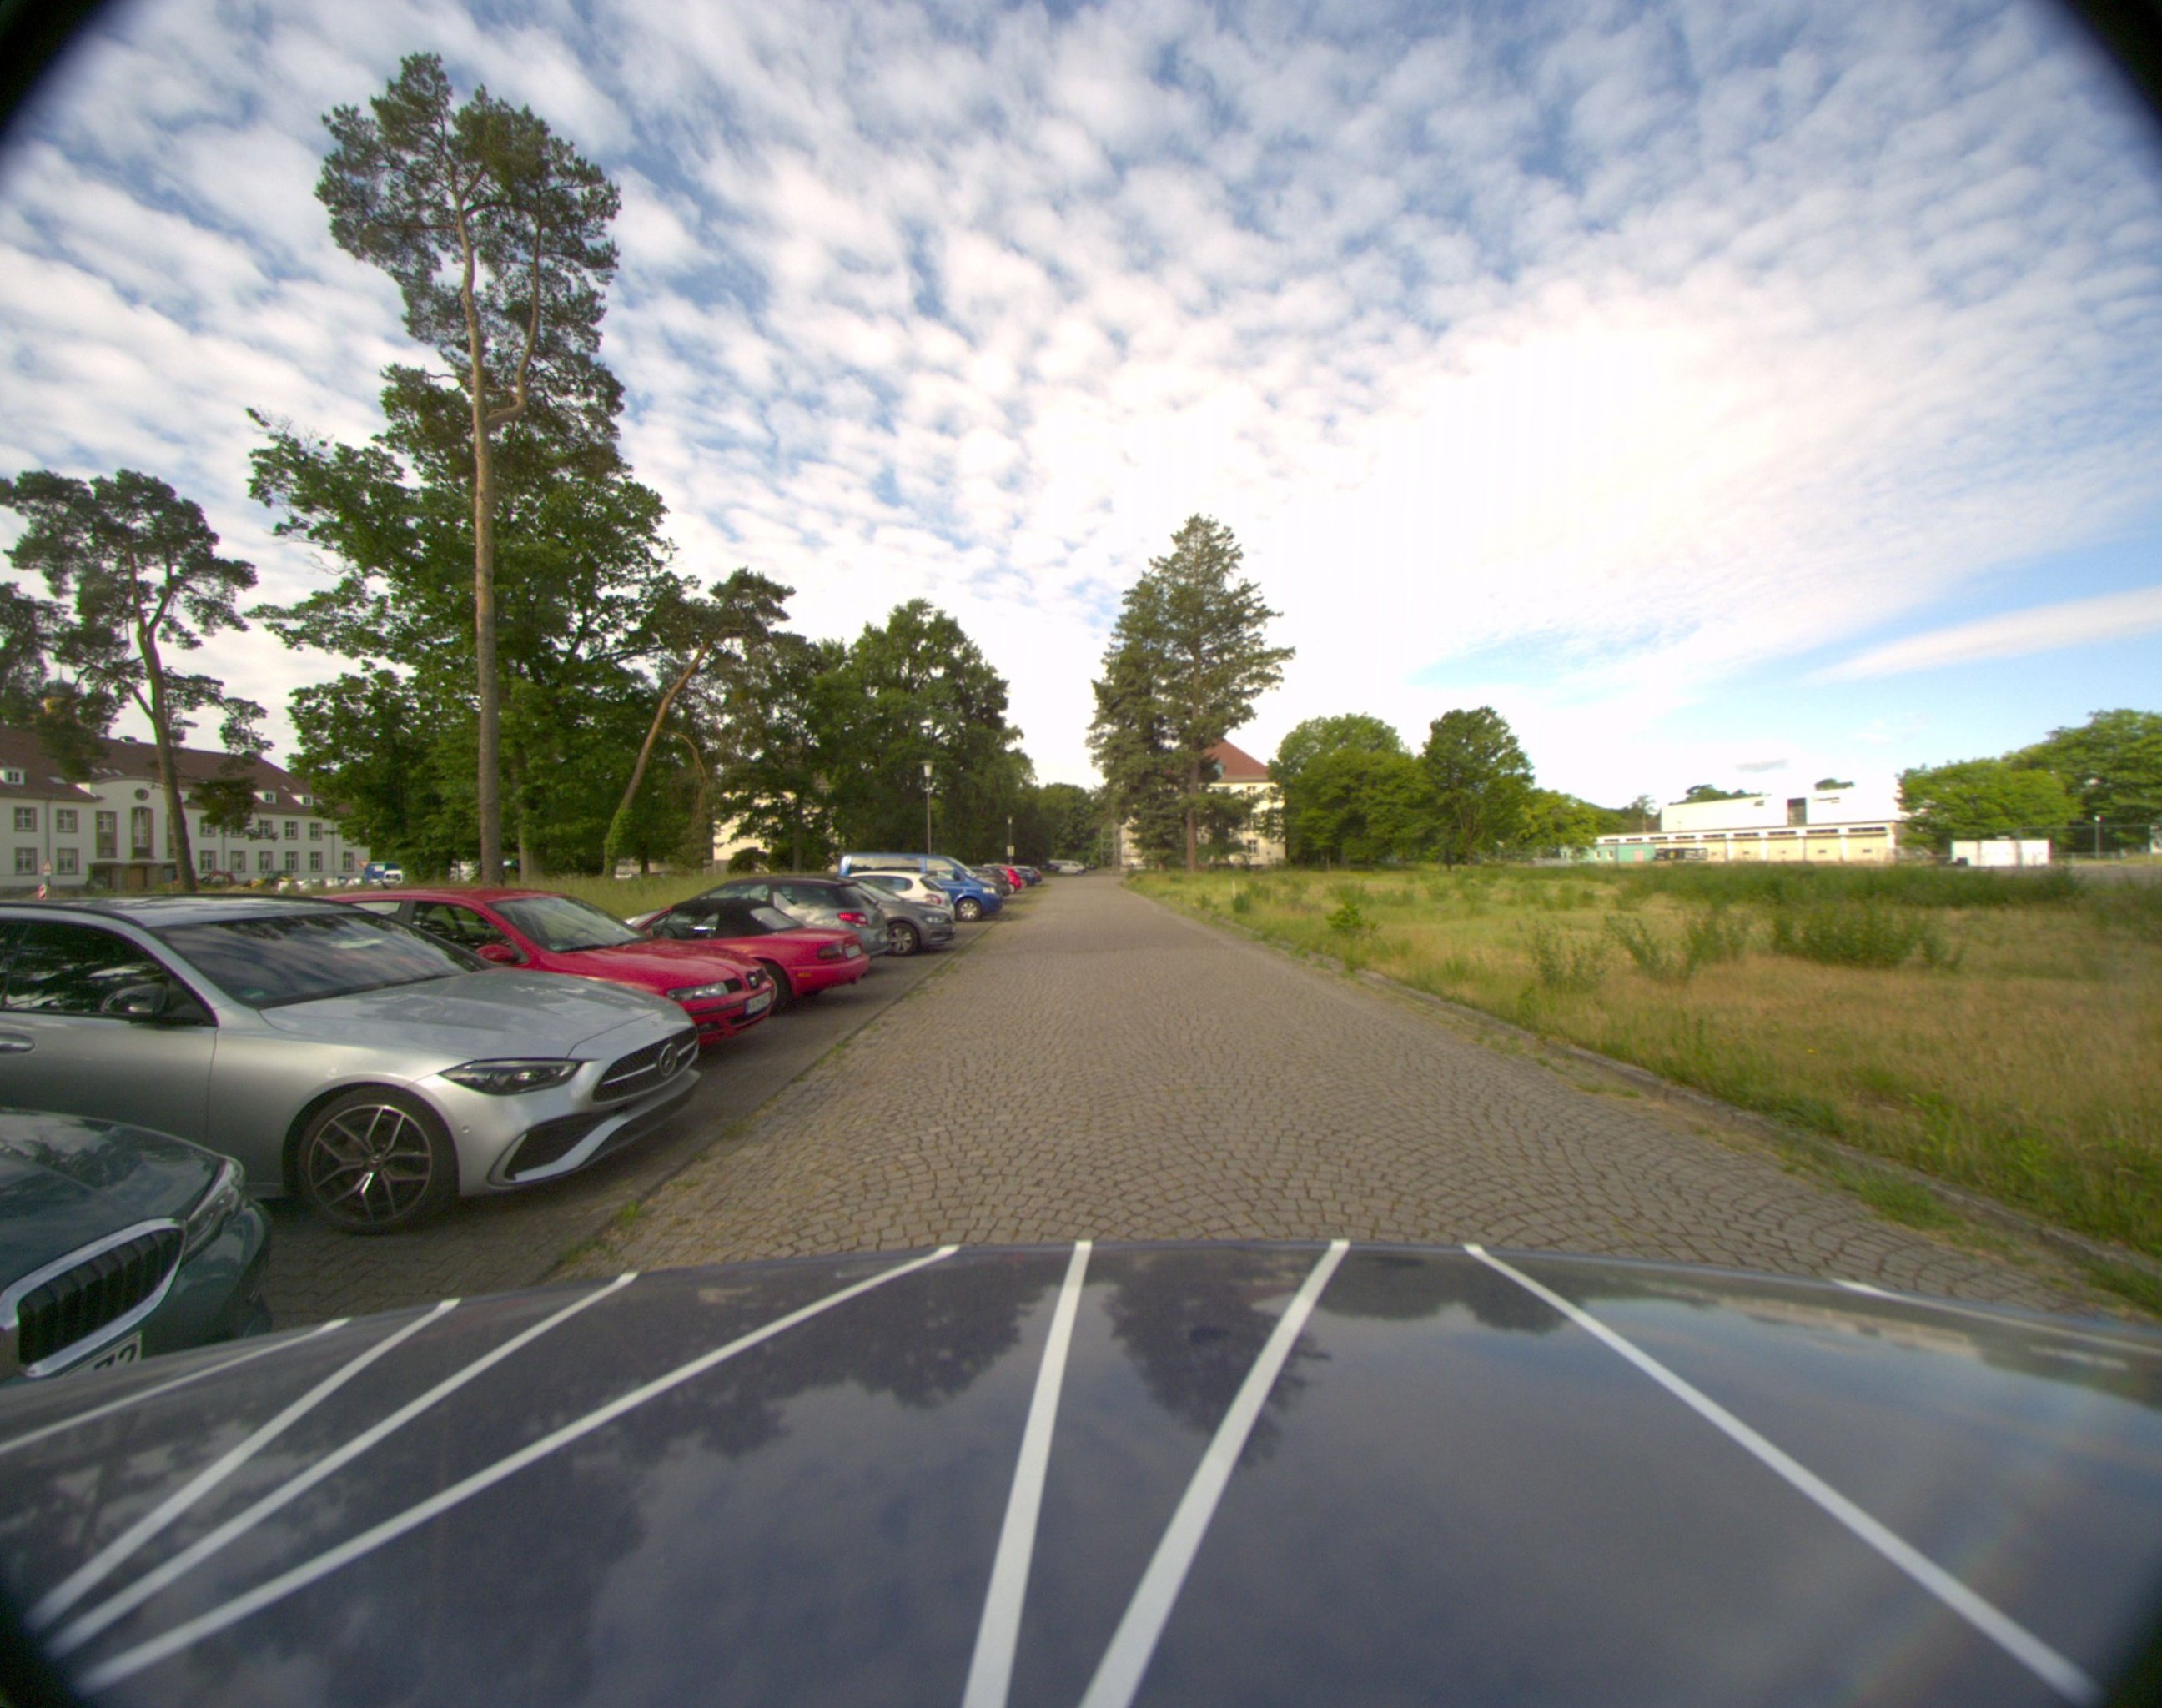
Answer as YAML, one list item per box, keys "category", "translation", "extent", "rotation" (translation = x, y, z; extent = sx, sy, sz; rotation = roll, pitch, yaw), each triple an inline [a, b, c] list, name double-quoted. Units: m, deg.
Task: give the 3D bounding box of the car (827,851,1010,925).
- category: "car"
  translation: [-4.700, 0.973, 22.548]
  extent: [4.954, 2.010, 2.060]
  rotation: [1, 0, 0]

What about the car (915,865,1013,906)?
- category: "car"
  translation: [-4.730, 1.277, 31.191]
  extent: [3.839, 1.591, 1.581]
  rotation: [-1, 0, -4]

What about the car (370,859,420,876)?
- category: "car"
  translation: [-82.315, 1.569, 91.225]
  extent: [2.217, 2.002, 4.002]
  rotation: [-1, 0, 5]

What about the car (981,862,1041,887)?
- category: "car"
  translation: [-4.742, 1.403, 51.951]
  extent: [3.836, 1.609, 1.582]
  rotation: [-1, 0, 4]

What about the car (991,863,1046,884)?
- category: "car"
  translation: [-4.622, 1.455, 56.650]
  extent: [3.836, 1.520, 1.674]
  rotation: [-1, 0, 4]

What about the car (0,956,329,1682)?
- category: "car"
  translation: [-4.597, 1.083, 1.366]
  extent: [4.525, 1.474, 1.807]
  rotation: [-1, 0, -3]

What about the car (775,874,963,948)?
- category: "car"
  translation: [-4.687, 1.250, 17.121]
  extent: [3.761, 1.490, 1.581]
  rotation: [-1, 0, 1]

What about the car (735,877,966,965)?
- category: "car"
  translation: [-4.186, 1.200, 14.190]
  extent: [3.781, 1.457, 1.643]
  rotation: [-1, 0, 1]

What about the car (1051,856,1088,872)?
- category: "car"
  translation: [-1.585, 1.378, 105.466]
  extent: [5.130, 2.002, 1.804]
  rotation: [-1, 0, -2]

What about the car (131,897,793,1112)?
- category: "car"
  translation: [-4.811, 1.140, 6.365]
  extent: [4.118, 1.414, 1.720]
  rotation: [-1, 0, 0]

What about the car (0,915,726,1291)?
- category: "car"
  translation: [-4.478, 1.112, 4.034]
  extent: [4.337, 1.420, 1.767]
  rotation: [0, 0, -2]

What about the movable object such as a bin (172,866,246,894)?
- category: "movable object such as a bin"
  translation: [-91.125, 2.677, 79.506]
  extent: [1.999, 2.751, 5.202]
  rotation: [-1, 0, -5]

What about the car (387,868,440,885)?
- category: "car"
  translation: [-68.672, 2.271, 78.247]
  extent: [1.847, 1.674, 3.937]
  rotation: [1, 0, 3]

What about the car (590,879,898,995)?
- category: "car"
  translation: [-4.848, 1.173, 11.317]
  extent: [3.838, 1.494, 1.604]
  rotation: [-1, 0, -1]

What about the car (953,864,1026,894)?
- category: "car"
  translation: [-4.972, 1.362, 41.544]
  extent: [3.839, 1.516, 1.581]
  rotation: [-1, 0, -4]

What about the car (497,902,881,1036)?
- category: "car"
  translation: [-4.291, 1.246, 8.693]
  extent: [3.555, 1.279, 1.608]
  rotation: [-1, -1, 1]
